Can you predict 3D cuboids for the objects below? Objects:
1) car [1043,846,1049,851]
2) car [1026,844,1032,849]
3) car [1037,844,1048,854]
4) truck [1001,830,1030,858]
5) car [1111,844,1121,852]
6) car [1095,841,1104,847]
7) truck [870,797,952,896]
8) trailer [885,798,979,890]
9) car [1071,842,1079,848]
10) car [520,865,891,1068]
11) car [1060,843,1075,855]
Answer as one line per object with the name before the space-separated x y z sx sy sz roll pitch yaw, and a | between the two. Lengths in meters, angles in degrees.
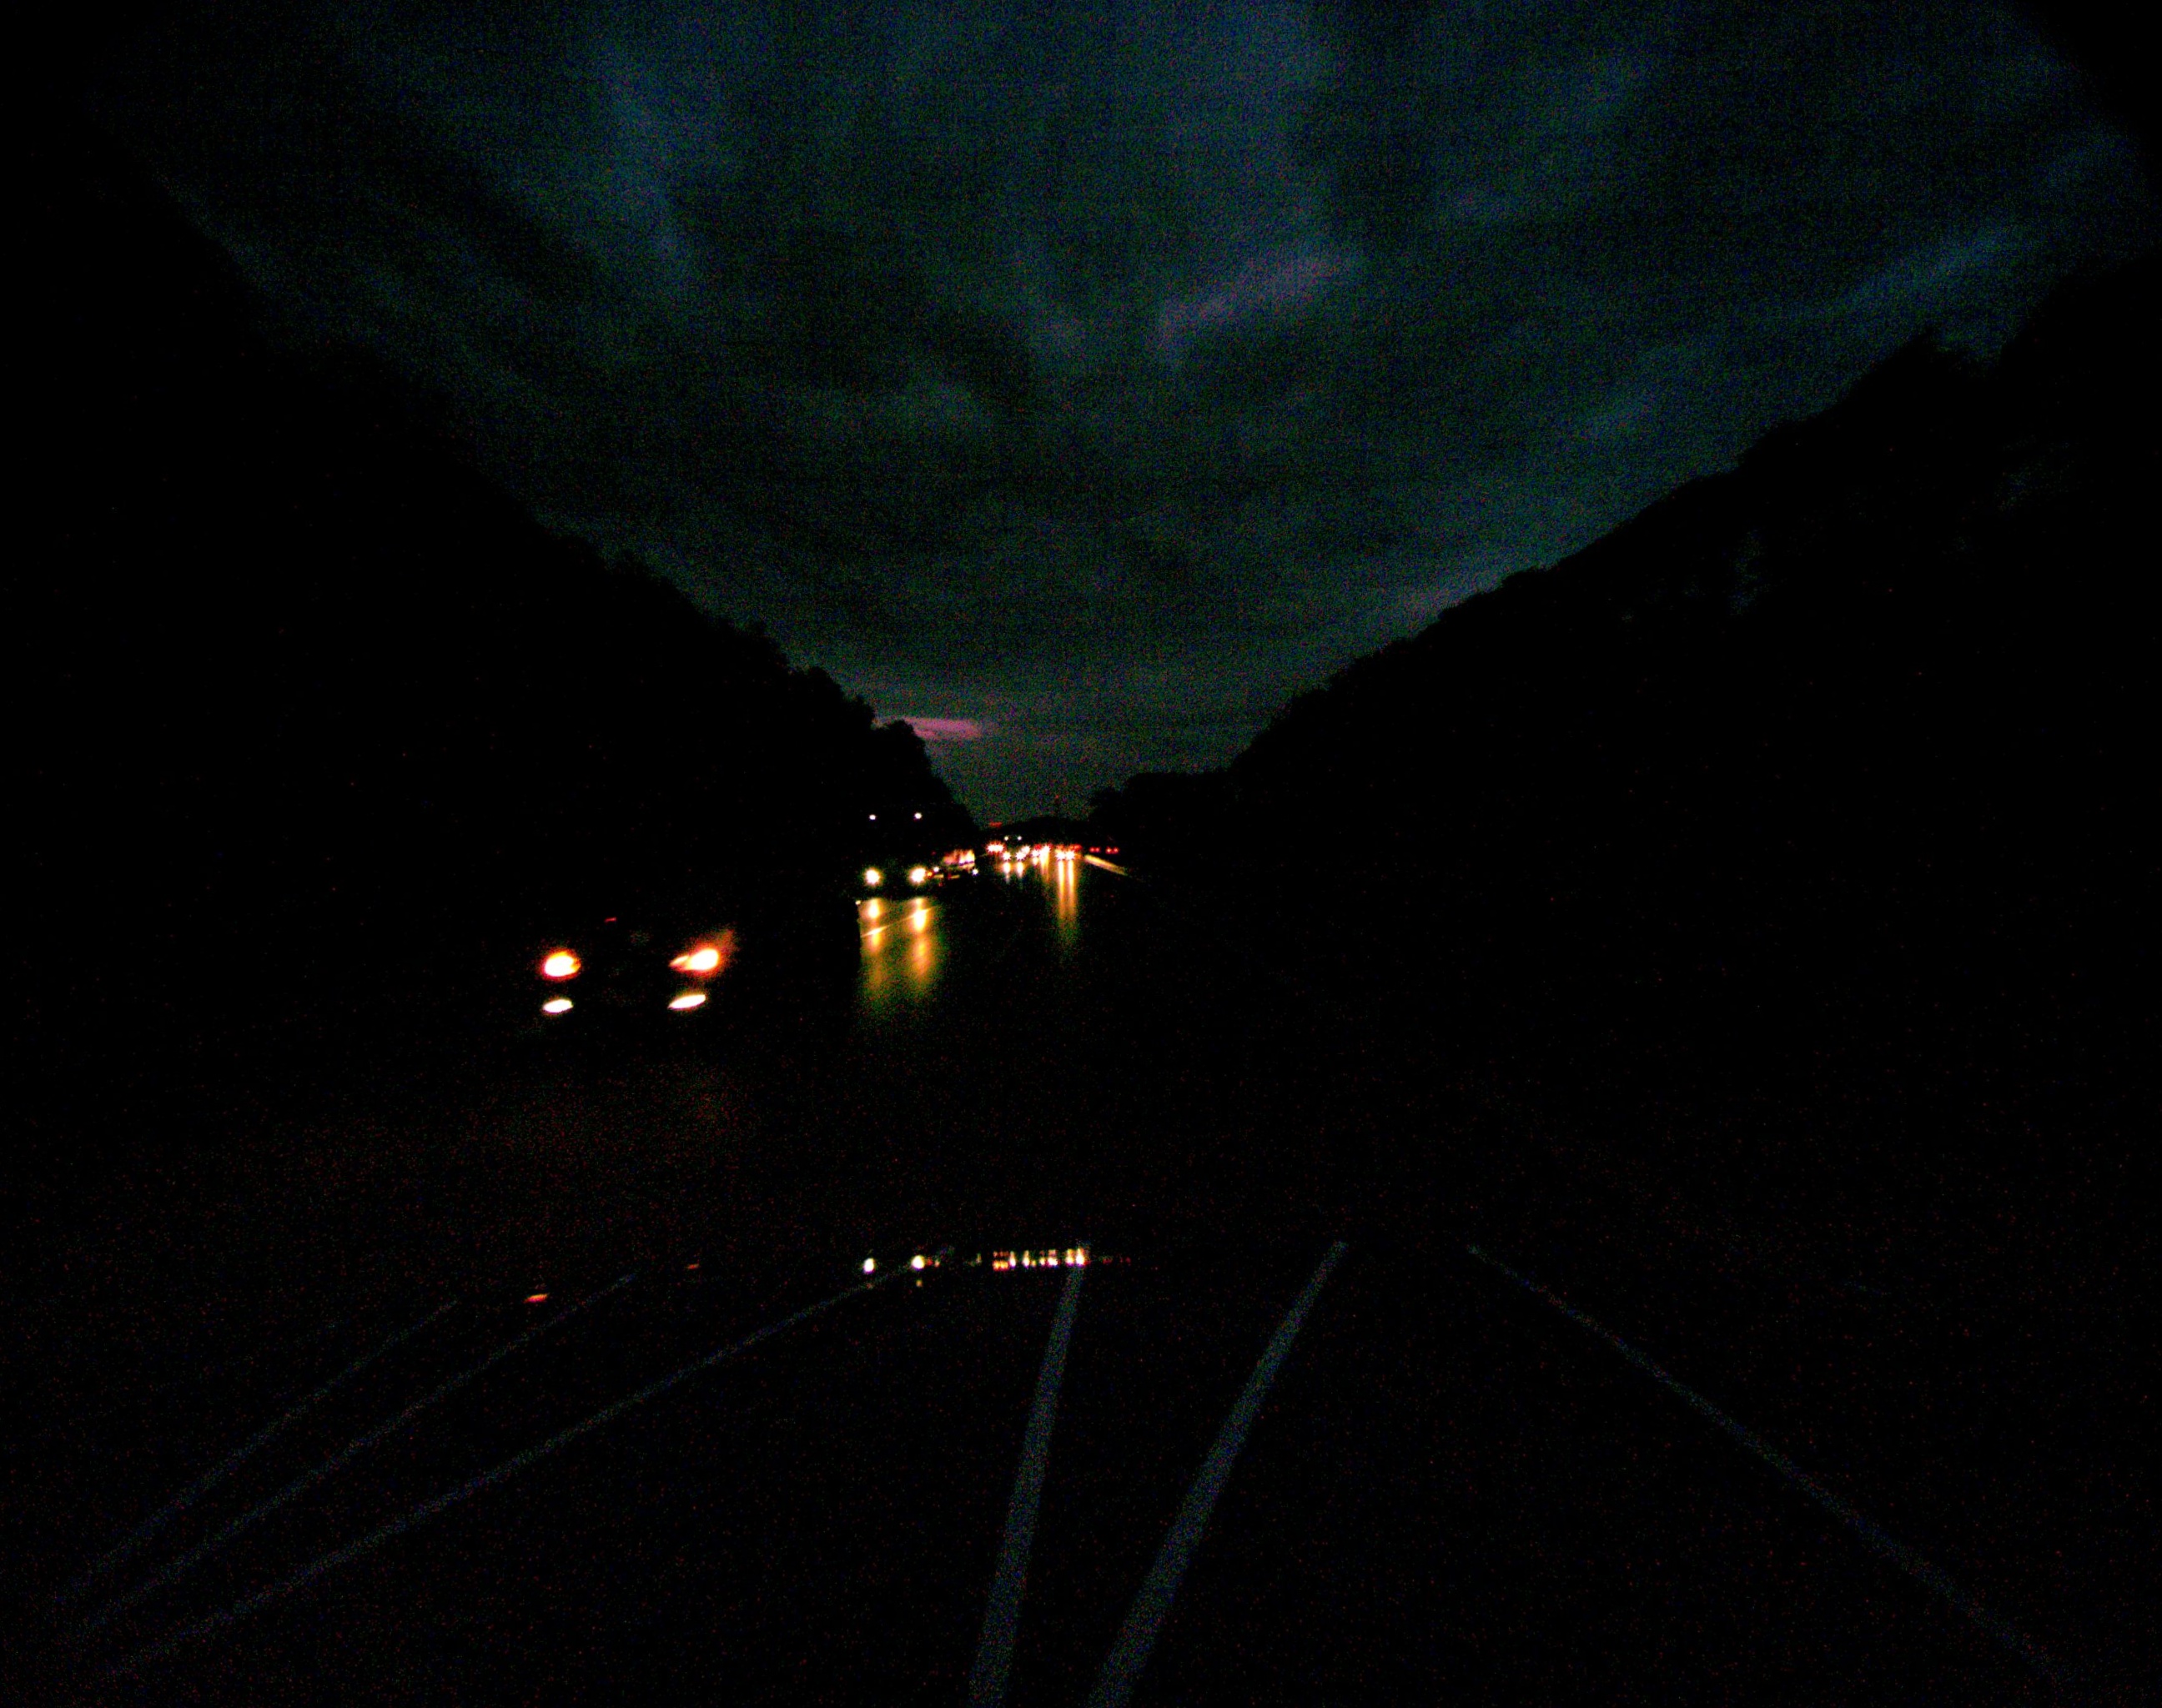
car | -9.588 -1.560 208.815 1.696 1.481 4.947 0 0 -2
car | -17.488 -2.505 254.819 1.999 1.641 3.998 -2 1 -2
car | -7.037 -0.923 140.811 1.924 1.706 4.941 -2 1 -2
truck | -9.730 -1.501 114.662 3.341 3.945 13.532 -2 1 -1
car | 6.890 -1.273 149.009 1.602 1.480 4.229 -2 1 -2
car | 4.603 -2.474 185.274 1.825 1.470 4.369 -2 1 -3
truck | -7.411 -0.354 33.877 2.498 3.945 5.588 -2 1 -3
trailer | -7.611 -0.577 40.916 2.489 4.050 13.500 -2 1 -1
car | -1.831 -2.876 242.034 1.924 1.706 5.282 -2 1 -5
car | -3.750 0.975 8.808 1.695 1.481 4.948 -2 1 1
car | -1.928 -0.708 110.427 1.869 1.700 4.584 -2 0 2
